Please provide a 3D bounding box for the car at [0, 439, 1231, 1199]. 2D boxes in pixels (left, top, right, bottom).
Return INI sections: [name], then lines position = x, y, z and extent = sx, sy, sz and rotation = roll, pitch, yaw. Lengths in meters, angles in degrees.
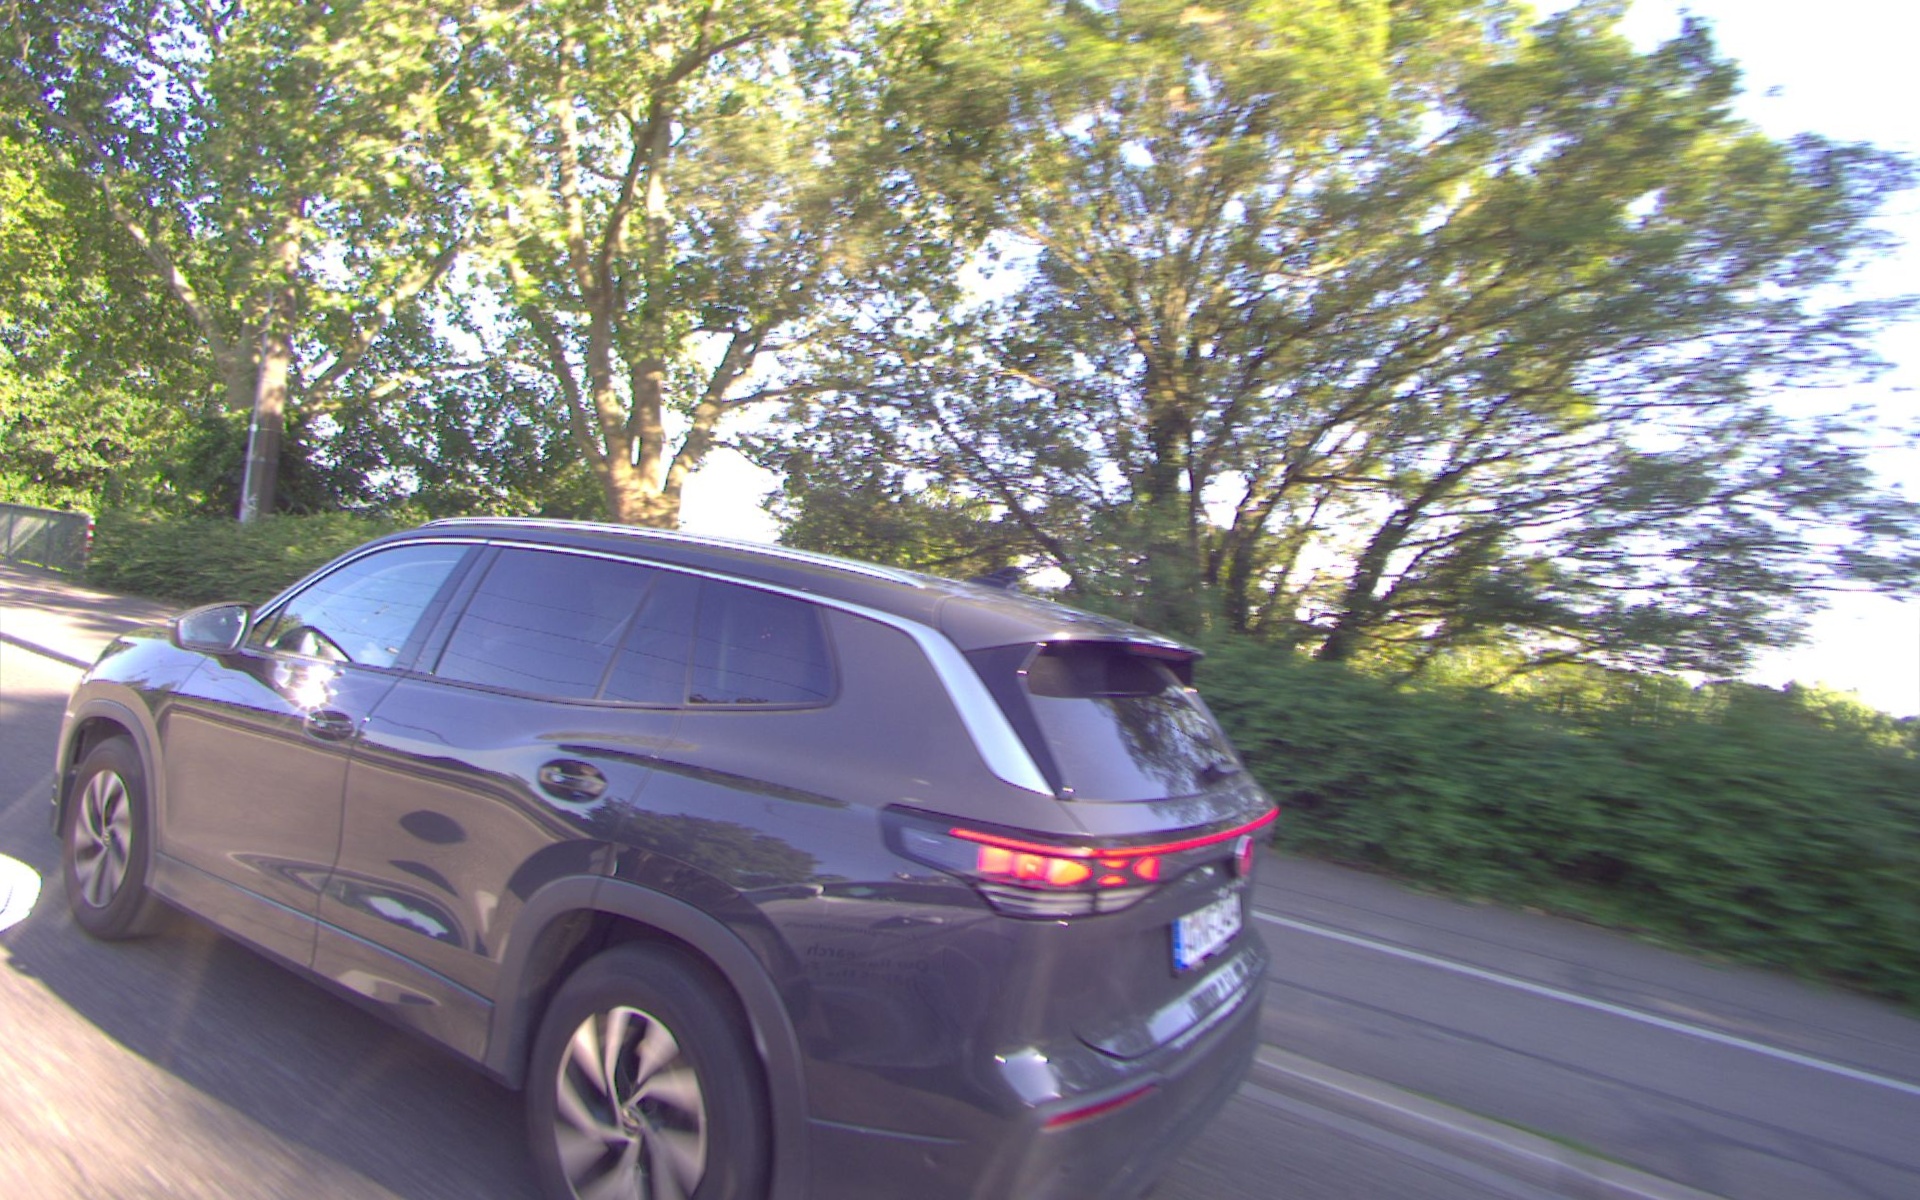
[car]
position = -1.514, 0.493, 3.676
extent = 4.365, 1.681, 1.848
rotation = 7, -1, 31
